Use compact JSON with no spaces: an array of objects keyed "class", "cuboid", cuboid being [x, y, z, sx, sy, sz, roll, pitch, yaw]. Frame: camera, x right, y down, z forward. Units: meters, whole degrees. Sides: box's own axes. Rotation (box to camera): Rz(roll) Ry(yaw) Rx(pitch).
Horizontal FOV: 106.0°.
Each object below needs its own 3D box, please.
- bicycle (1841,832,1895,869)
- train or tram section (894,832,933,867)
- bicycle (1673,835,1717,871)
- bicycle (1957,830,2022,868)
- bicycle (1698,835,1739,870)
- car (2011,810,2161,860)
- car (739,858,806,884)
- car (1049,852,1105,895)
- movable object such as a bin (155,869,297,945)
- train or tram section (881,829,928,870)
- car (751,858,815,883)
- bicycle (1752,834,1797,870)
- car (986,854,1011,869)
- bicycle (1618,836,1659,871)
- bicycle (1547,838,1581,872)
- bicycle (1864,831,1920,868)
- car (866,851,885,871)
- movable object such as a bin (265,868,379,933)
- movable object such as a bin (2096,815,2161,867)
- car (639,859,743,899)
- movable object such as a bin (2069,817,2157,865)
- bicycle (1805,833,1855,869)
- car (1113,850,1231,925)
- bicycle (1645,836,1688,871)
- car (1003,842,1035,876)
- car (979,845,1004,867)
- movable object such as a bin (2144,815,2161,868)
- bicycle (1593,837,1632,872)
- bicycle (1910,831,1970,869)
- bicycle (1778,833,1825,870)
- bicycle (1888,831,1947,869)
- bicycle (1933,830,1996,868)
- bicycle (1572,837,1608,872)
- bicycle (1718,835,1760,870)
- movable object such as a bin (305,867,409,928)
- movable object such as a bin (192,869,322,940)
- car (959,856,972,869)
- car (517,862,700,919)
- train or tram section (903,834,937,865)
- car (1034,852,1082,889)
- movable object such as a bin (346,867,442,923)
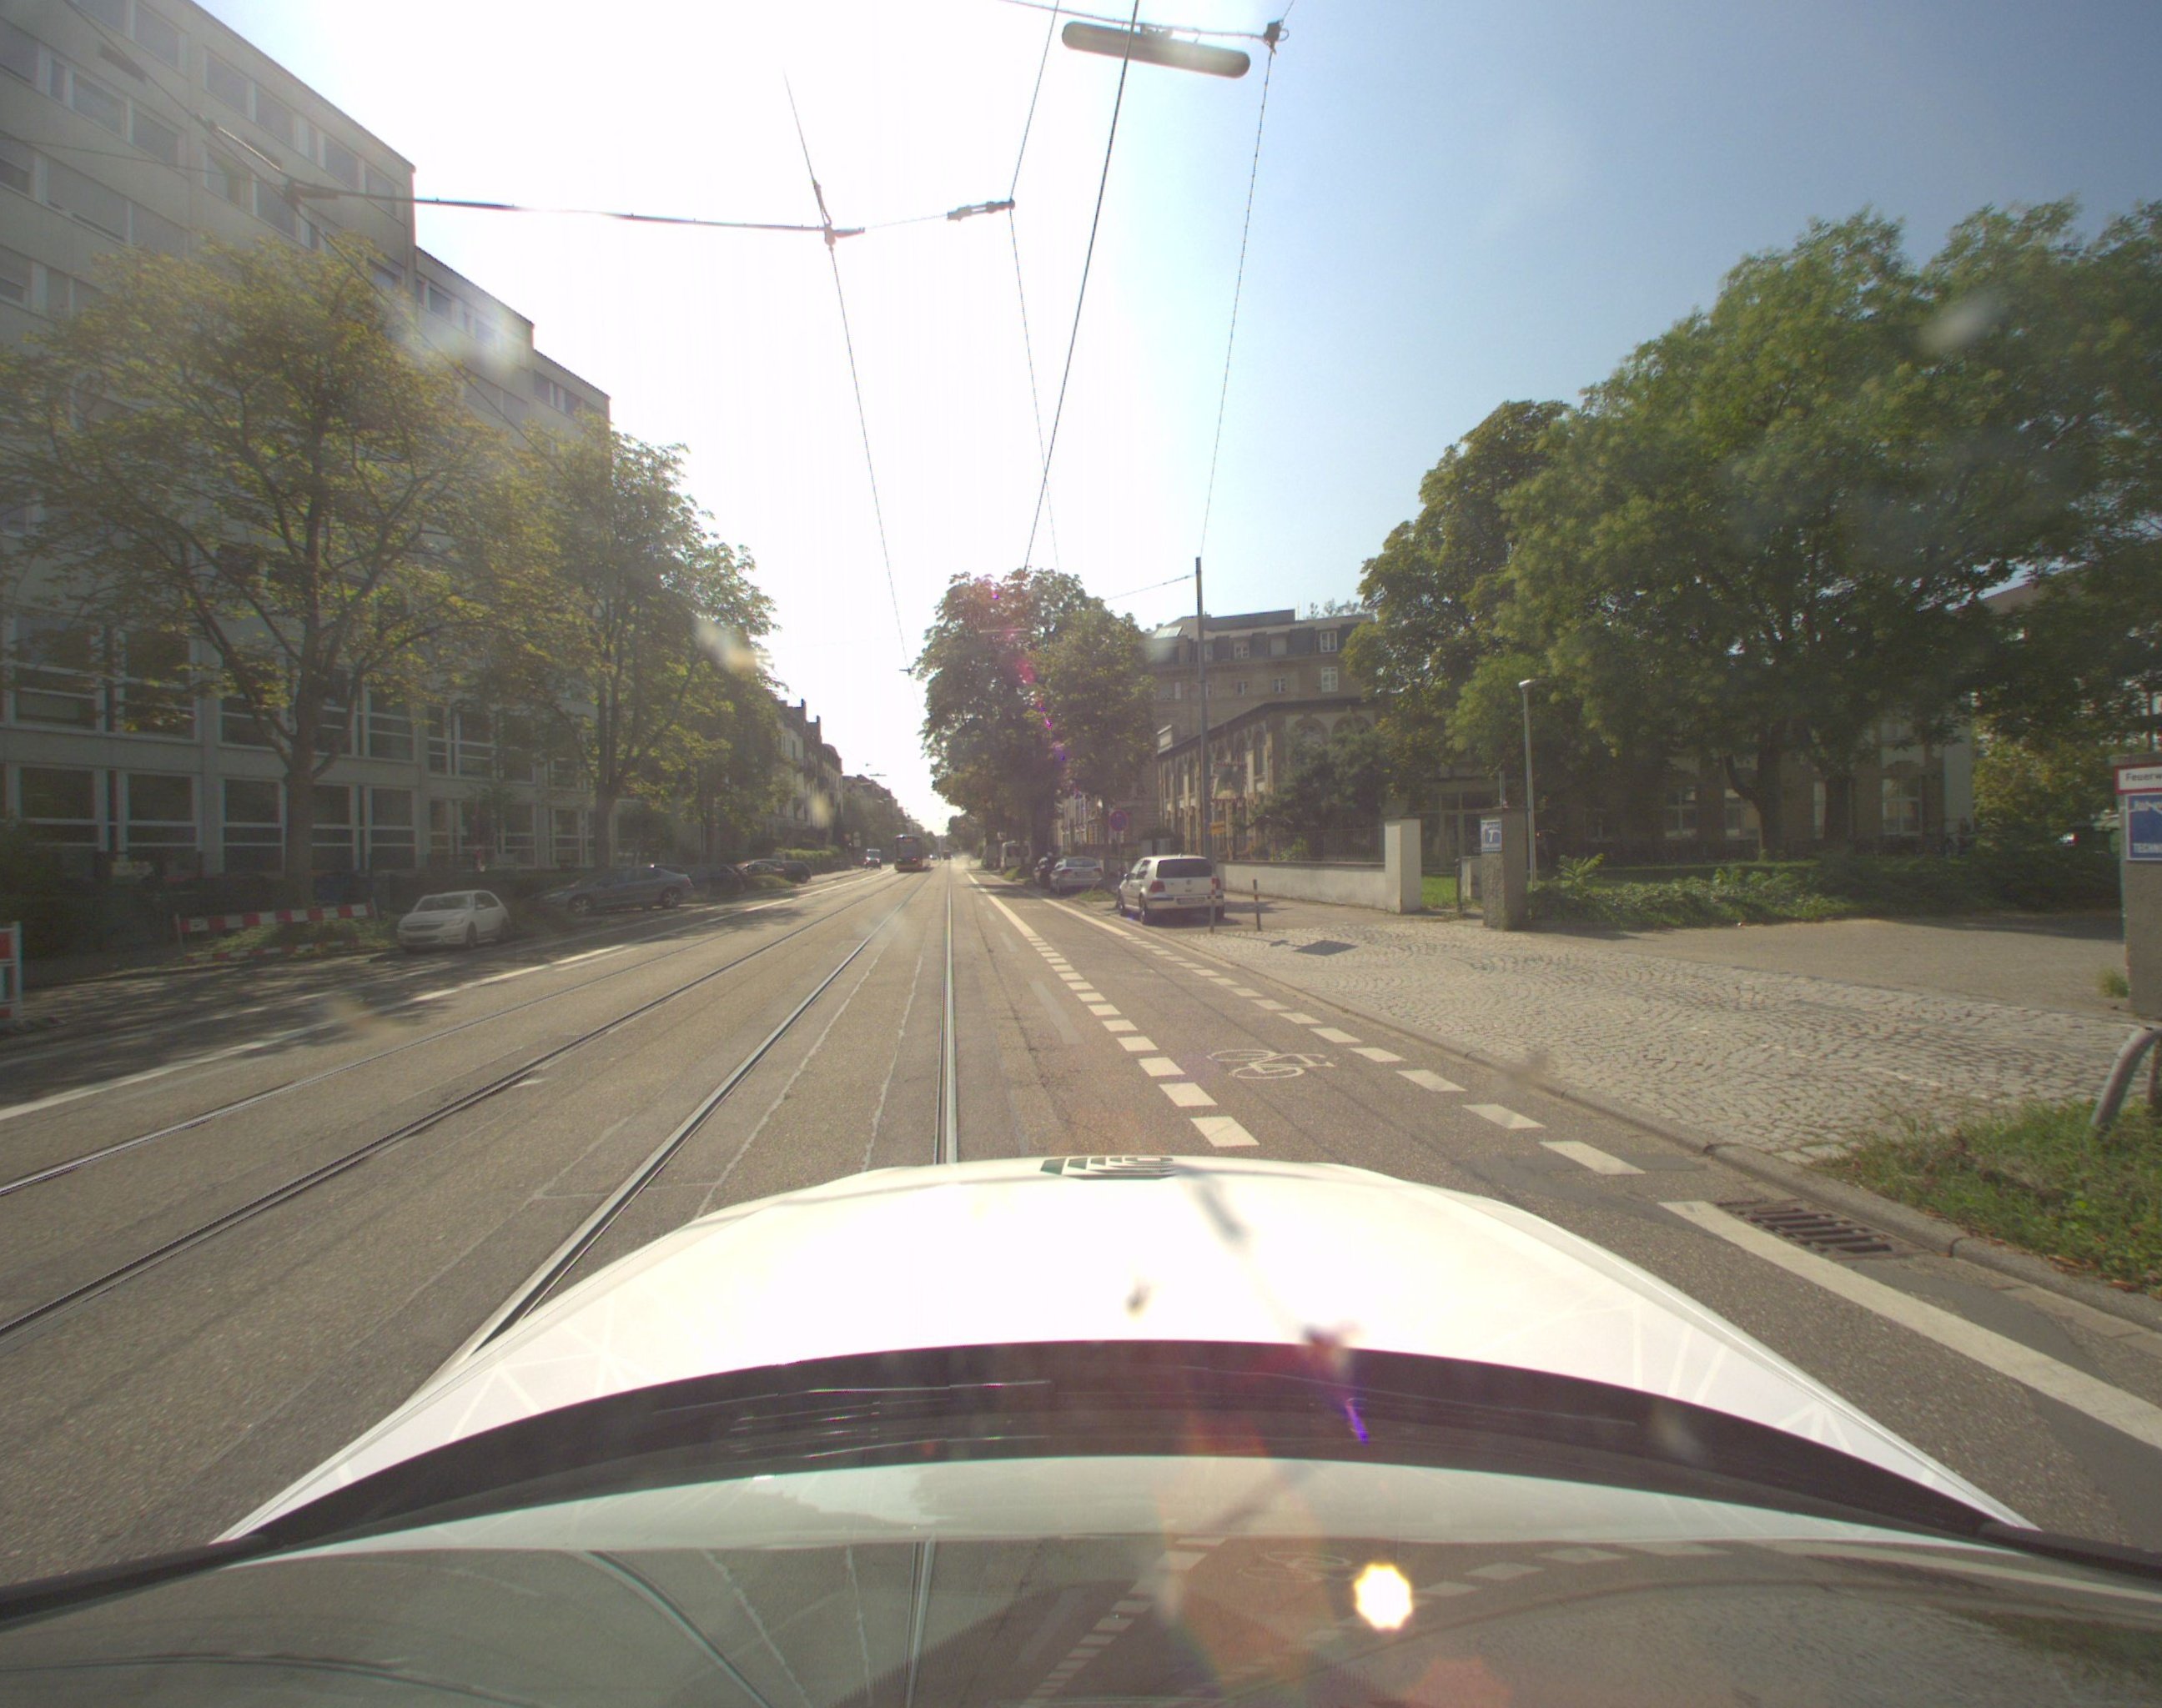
[{"class":"bicycle","cuboid":[28.714,-0.133,29.762,0.602,1.302,2.185,-1,-1,22]},{"class":"train or tram section","cuboid":[-18.758,-0.510,91.893,3.495,3.704,12.377,-1,0,-8]},{"class":"bicycle","cuboid":[23.725,-0.033,31.494,0.763,1.302,2.285,-1,-1,22]},{"class":"bicycle","cuboid":[32.029,-0.169,28.739,0.602,1.302,2.185,-1,-1,22]},{"class":"bicycle","cuboid":[24.475,-0.045,31.302,0.620,1.302,2.285,-1,-1,22]},{"class":"car","cuboid":[41.811,-0.776,32.879,5.025,1.881,2.515,-1,0,20]},{"class":"car","cuboid":[-19.356,1.048,51.180,1.655,1.574,3.609,-1,-1,39]},{"class":"car","cuboid":[-0.215,0.726,31.487,1.640,1.511,3.630,-1,0,-9]},{"class":"movable object such as a bin","cuboid":[-19.145,1.151,18.306,1.683,1.559,1.349,-2,0,-11]},{"class":"train or tram section","cuboid":[-17.049,-0.452,79.605,3.495,3.704,12.377,-1,0,-8]},{"class":"car","cuboid":[-19.688,1.070,53.896,1.655,1.574,3.609,-1,-1,39]},{"class":"bicycle","cuboid":[26.222,-0.073,30.847,0.602,1.302,2.185,-1,-1,22]},{"class":"car","cuboid":[-7.976,0.677,78.544,1.995,1.398,3.984,-1,0,-12]},{"class":"bicycle","cuboid":[21.762,-0.003,31.848,0.763,1.302,2.539,-1,0,22]},{"class":"bicycle","cuboid":[19.300,0.037,32.595,0.763,1.302,2.539,-1,0,22]},{"class":"bicycle","cuboid":[29.475,-0.147,29.646,0.602,1.302,2.185,-1,-1,22]},{"class":"car","cuboid":[-26.552,0.916,105.345,2.244,2.441,3.983,-1,0,-13]},{"class":"movable object such as a bin","cuboid":[-19.808,1.179,21.309,1.683,1.559,1.349,-2,0,-11]},{"class":"movable object such as a bin","cuboid":[31.354,-0.387,24.063,1.237,1.495,1.211,-1,1,12]},{"class":"car","cuboid":[-16.547,1.035,34.648,1.655,1.574,3.609,-1,-1,39]},{"class":"movable object such as a bin","cuboid":[32.360,-0.410,25.560,1.237,1.444,1.211,-1,1,12]},{"class":"bicycle","cuboid":[27.698,-0.098,30.167,0.602,1.302,2.185,-1,-1,22]},{"class":"car","cuboid":[1.913,0.675,18.254,1.789,1.446,3.724,-2,0,-7]},{"class":"bicycle","cuboid":[22.820,-0.019,31.795,0.763,1.302,2.539,-1,0,22]},{"class":"car","cuboid":[-4.522,0.362,58.794,1.993,2.365,3.988,0,0,-9]},{"class":"car","cuboid":[-9.421,0.241,85.483,1.996,2.233,3.981,-1,0,-14]},{"class":"movable object such as a bin","cuboid":[30.728,-0.345,22.567,1.090,1.481,1.105,-1,1,12]},{"class":"bicycle","cuboid":[20.878,0.011,32.038,0.763,1.302,2.539,-1,0,22]},{"class":"bicycle","cuboid":[30.747,-0.148,29.187,0.602,1.302,2.185,-1,-1,22]},{"class":"bicycle","cuboid":[26.875,-0.085,30.418,0.602,1.302,2.185,-1,-1,22]},{"class":"bicycle","cuboid":[30.073,-0.138,29.318,0.602,1.302,2.185,-1,-1,22]},{"class":"bicycle","cuboid":[31.393,-0.159,28.969,0.602,1.302,2.185,-1,-1,22]},{"class":"bicycle","cuboid":[20.076,0.031,32.162,0.763,1.302,2.539,-1,0,22]},{"class":"bicycle","cuboid":[25.102,-0.055,31.114,0.602,1.302,2.185,-1,-1,22]},{"class":"movable object such as a bin","cuboid":[-20.224,1.185,22.811,1.683,1.559,1.349,-2,0,-11]},{"class":"movable object such as a bin","cuboid":[-19.811,1.181,19.641,1.683,1.559,1.349,-2,0,-11]},{"class":"car","cuboid":[-17.608,1.284,124.199,1.993,1.801,3.988,0,0,-9]},{"class":"car","cuboid":[-14.772,1.085,25.754,1.655,1.451,4.719,-1,1,34]},{"class":"train or tram section","cuboid":[-20.480,-0.594,104.138,3.495,3.704,12.377,-1,0,-8]},{"class":"car","cuboid":[-1.113,0.724,37.579,1.793,1.577,3.990,-1,0,-7]},{"class":"movable object such as a bin","cuboid":[-20.431,1.195,24.269,1.683,1.559,1.349,-2,0,-11]}]
